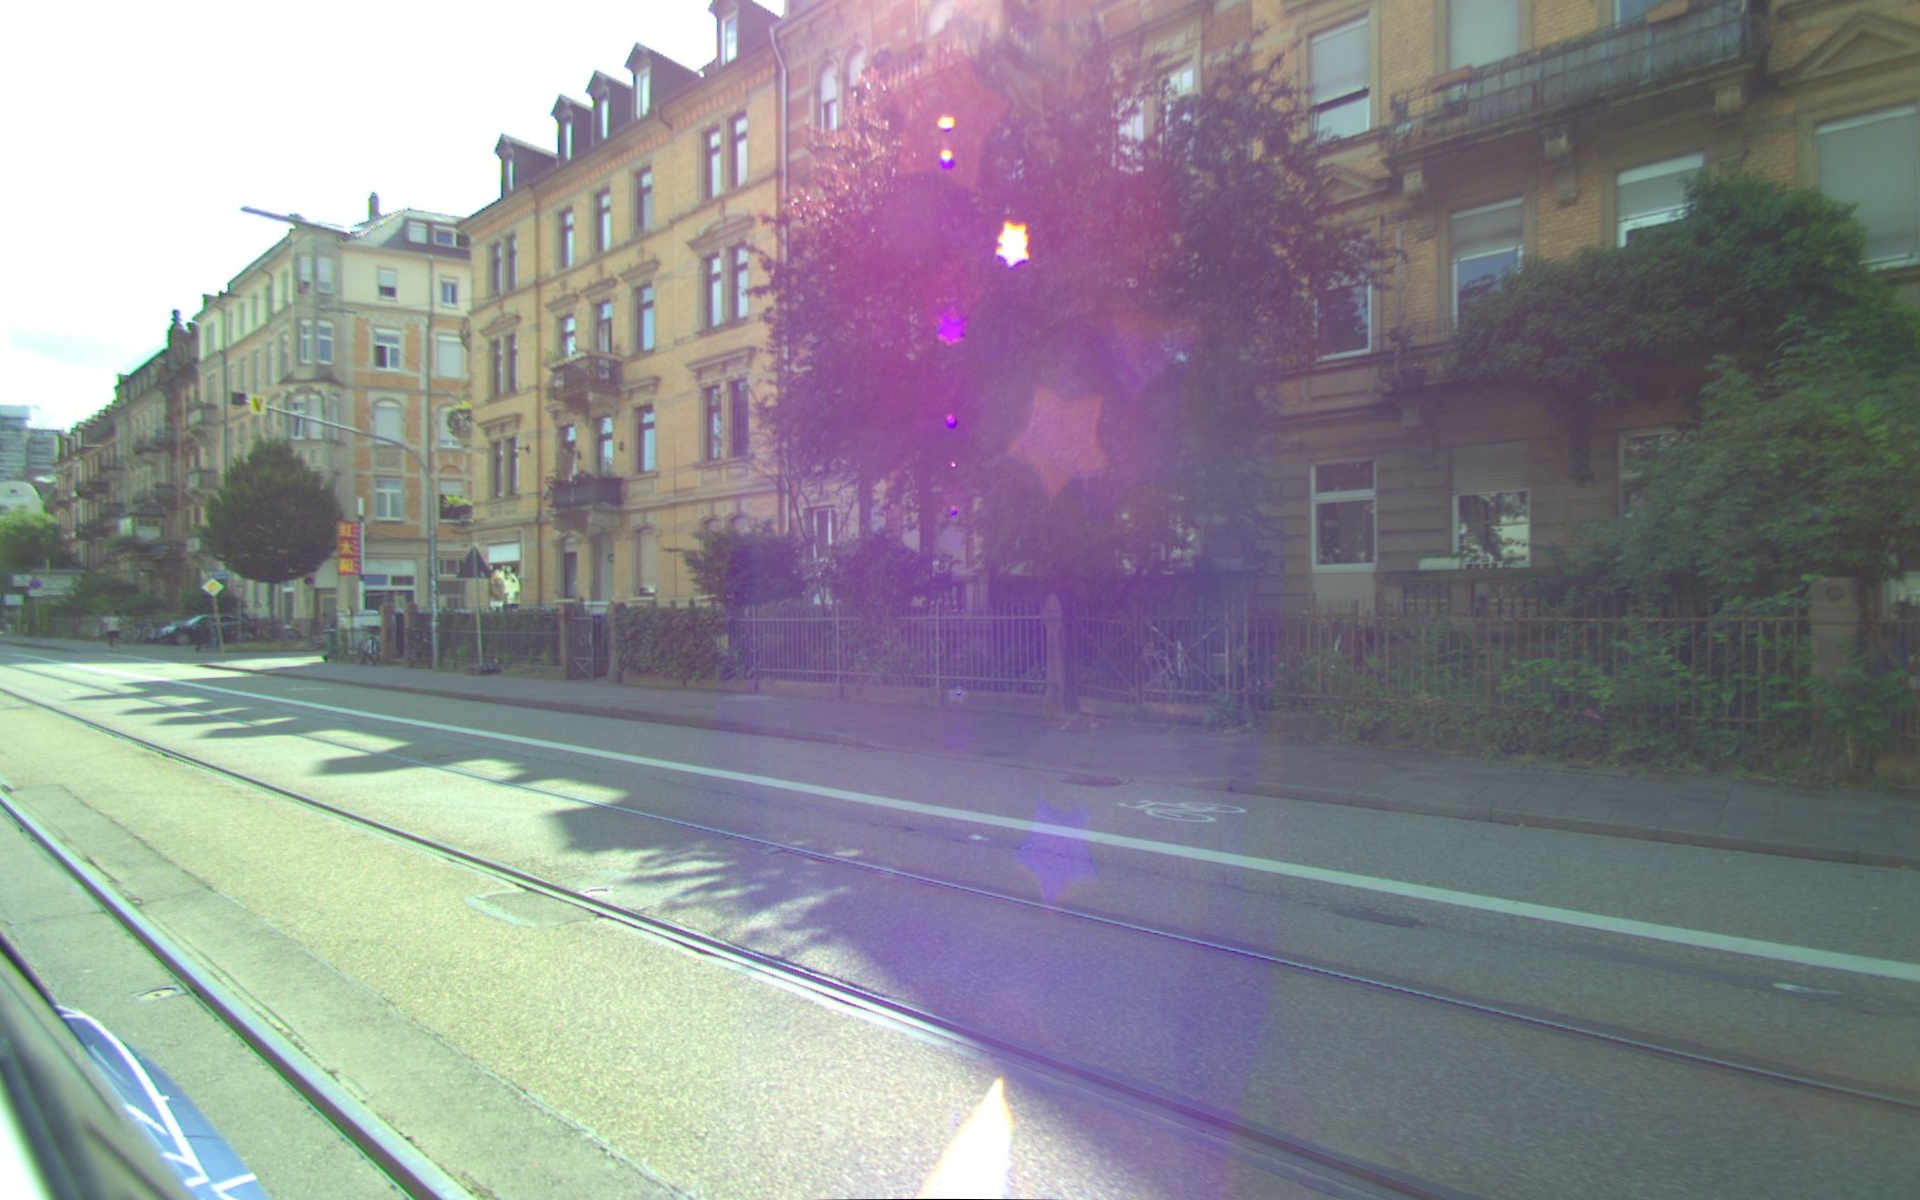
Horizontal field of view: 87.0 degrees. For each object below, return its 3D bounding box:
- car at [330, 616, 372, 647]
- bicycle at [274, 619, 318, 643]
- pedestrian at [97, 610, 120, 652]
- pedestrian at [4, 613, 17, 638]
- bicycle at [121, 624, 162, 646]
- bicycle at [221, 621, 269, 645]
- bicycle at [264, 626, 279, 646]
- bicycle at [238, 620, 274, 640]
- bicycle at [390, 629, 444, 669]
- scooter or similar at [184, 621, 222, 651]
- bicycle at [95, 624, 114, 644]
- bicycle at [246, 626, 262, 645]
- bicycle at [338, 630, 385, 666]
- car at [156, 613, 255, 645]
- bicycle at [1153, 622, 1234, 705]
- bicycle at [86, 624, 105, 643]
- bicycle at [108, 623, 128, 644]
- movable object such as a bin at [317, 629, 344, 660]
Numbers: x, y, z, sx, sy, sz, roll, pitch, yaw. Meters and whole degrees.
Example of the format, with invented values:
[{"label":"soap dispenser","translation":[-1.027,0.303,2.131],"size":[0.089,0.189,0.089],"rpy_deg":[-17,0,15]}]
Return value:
[{"label":"car","translation":[-28.064,1.439,46.686],"size":[1.616,1.370,3.938],"rpy_deg":[0,-1,-31]},{"label":"bicycle","translation":[-31.103,1.435,47.389],"size":[1.671,1.071,0.525],"rpy_deg":[0,-1,-39]},{"label":"pedestrian","translation":[-36.898,1.346,43.845],"size":[1.105,1.773,0.528],"rpy_deg":[-1,1,40]},{"label":"pedestrian","translation":[-65.987,1.783,70.339],"size":[1.150,1.716,0.483],"rpy_deg":[-1,-1,39]},{"label":"bicycle","translation":[-38.844,1.649,48.035],"size":[0.404,0.984,1.438],"rpy_deg":[-2,-1,40]},{"label":"bicycle","translation":[-32.753,1.514,46.374],"size":[0.523,1.071,1.738],"rpy_deg":[-2,-1,35]},{"label":"bicycle","translation":[-30.634,1.598,45.016],"size":[0.516,0.844,1.702],"rpy_deg":[0,-1,-36]},{"label":"bicycle","translation":[-36.073,1.551,51.878],"size":[0.404,0.984,1.438],"rpy_deg":[-2,-1,40]},{"label":"bicycle","translation":[-13.672,1.214,25.448],"size":[1.966,0.954,0.524],"rpy_deg":[-1,-1,41]},{"label":"scooter or similar","translation":[-32.134,1.520,42.999],"size":[0.400,1.244,1.361],"rpy_deg":[-1,0,12]},{"label":"bicycle","translation":[-42.790,1.677,50.632],"size":[1.948,0.984,0.417],"rpy_deg":[-1,-1,40]},{"label":"bicycle","translation":[-31.357,1.576,44.939],"size":[0.516,0.844,1.702],"rpy_deg":[0,-1,-36]},{"label":"bicycle","translation":[-16.443,1.307,27.795],"size":[1.966,0.954,0.524],"rpy_deg":[-1,-1,41]},{"label":"car","translation":[-36.226,1.361,48.620],"size":[1.787,1.413,3.563],"rpy_deg":[-2,0,44]},{"label":"bicycle","translation":[3.267,0.836,14.020],"size":[0.465,1.027,2.188],"rpy_deg":[-1,-1,30]},{"label":"bicycle","translation":[-45.113,1.744,52.806],"size":[1.948,0.939,0.417],"rpy_deg":[-1,-1,40]},{"label":"bicycle","translation":[-40.766,1.618,48.978],"size":[1.948,0.984,0.417],"rpy_deg":[-1,-1,40]},{"label":"movable object such as a bin","translation":[-19.296,1.356,31.030],"size":[0.635,0.912,0.520],"rpy_deg":[-1,-1,39]}]
